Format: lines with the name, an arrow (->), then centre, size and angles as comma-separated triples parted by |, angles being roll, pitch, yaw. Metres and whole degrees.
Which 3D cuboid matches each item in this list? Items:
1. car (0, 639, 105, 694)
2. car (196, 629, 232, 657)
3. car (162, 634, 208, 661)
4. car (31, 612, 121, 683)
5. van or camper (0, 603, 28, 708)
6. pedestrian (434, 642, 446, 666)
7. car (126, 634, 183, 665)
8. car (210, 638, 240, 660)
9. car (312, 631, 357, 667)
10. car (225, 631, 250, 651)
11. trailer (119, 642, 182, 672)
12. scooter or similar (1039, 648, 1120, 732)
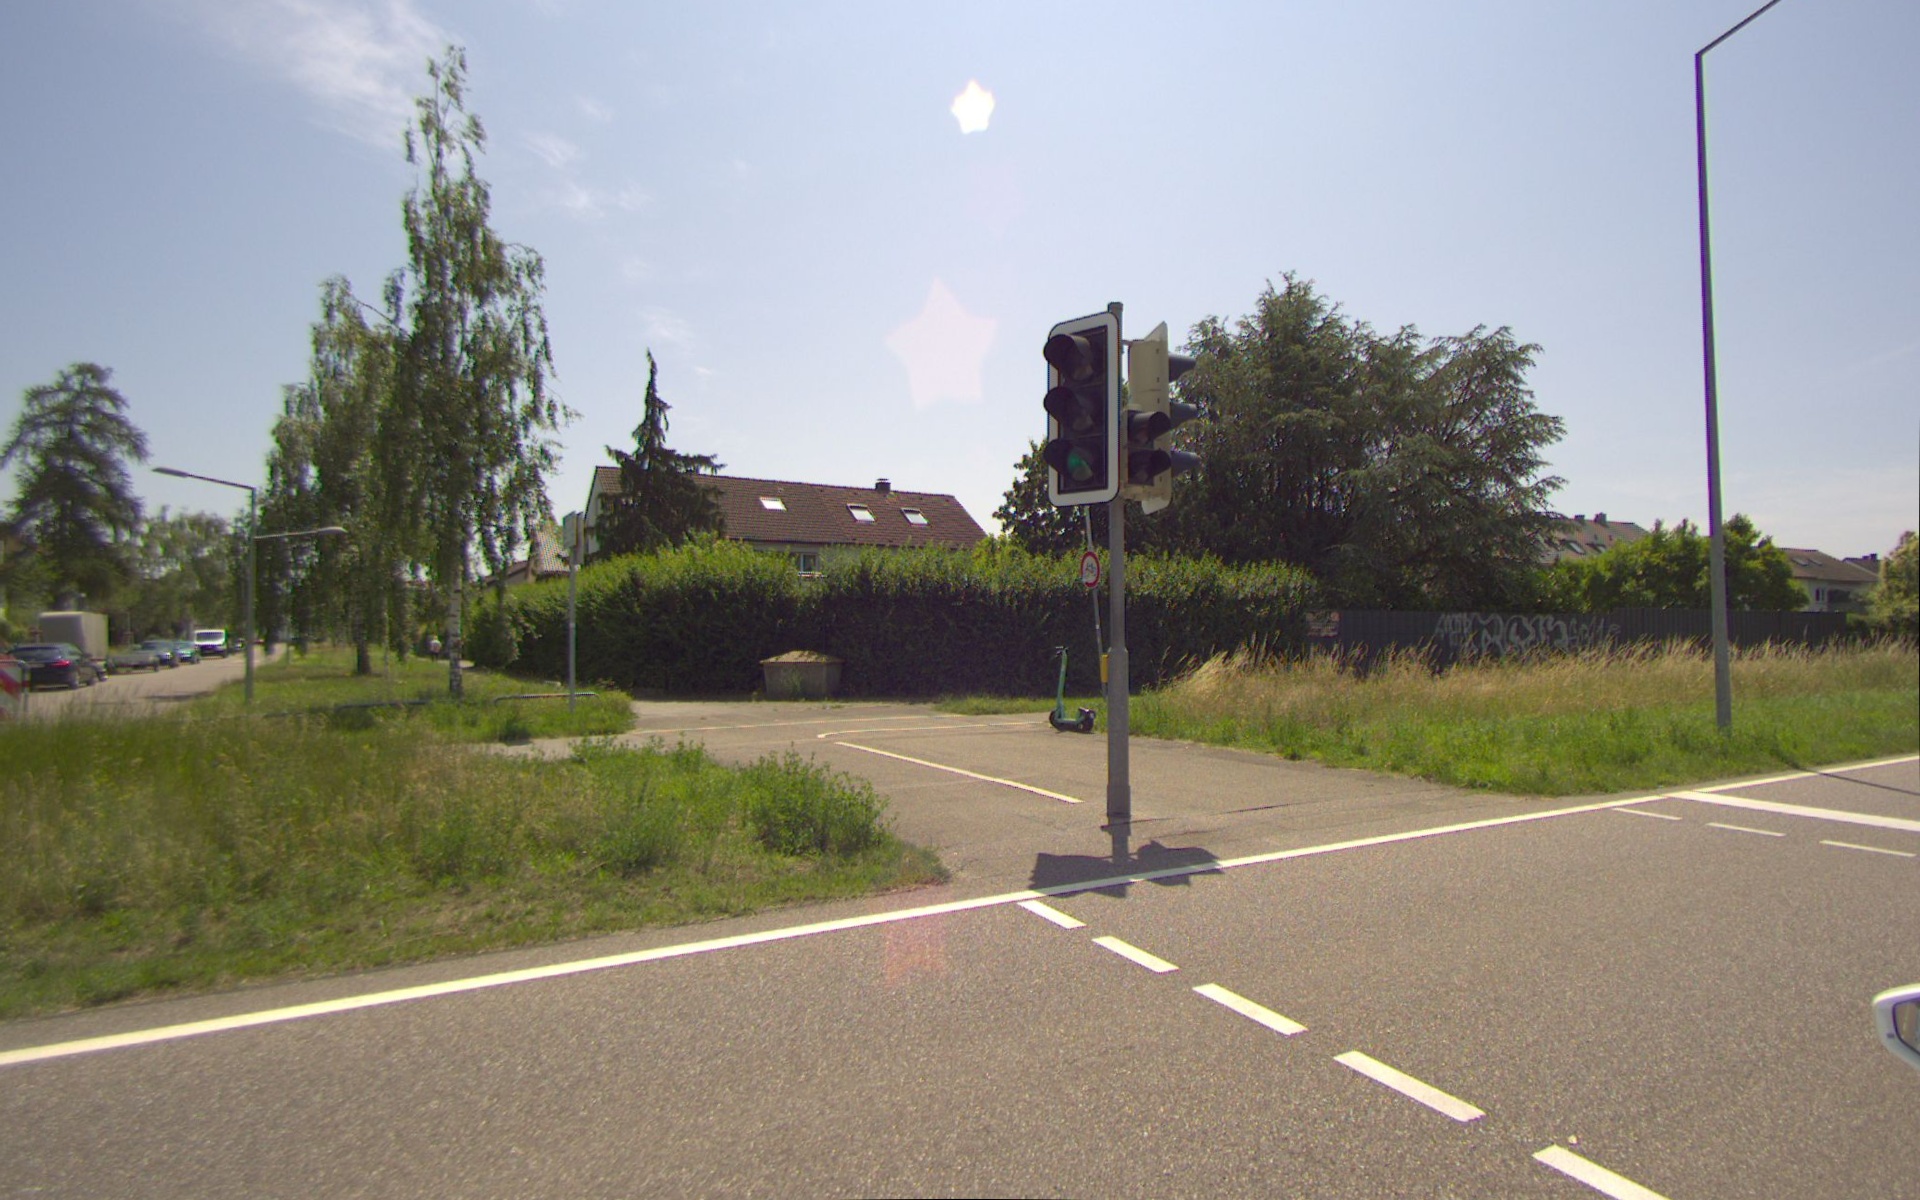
car -> -28.730, 2.048, 31.901 | 1.849, 1.539, 3.964 | 1, -1, -33
car -> -56.975, 3.227, 76.733 | 1.849, 1.996, 4.448 | 1, -1, -33
car -> -47.838, 2.913, 62.081 | 1.849, 1.463, 4.448 | 1, -1, -33
car -> -32.356, 1.682, 36.896 | 1.849, 2.432, 3.964 | 1, -1, -33
van or camper -> -23.153, 1.270, 22.885 | 1.979, 2.420, 4.726 | 1, -1, -33
pedestrian -> -29.054, 3.024, 56.069 | 0.535, 1.315, 0.563 | 1, -2, -33
car -> -42.511, 2.594, 53.068 | 1.849, 1.463, 4.448 | 1, -1, -33
car -> -65.685, 4.354, 89.868 | 1.849, 1.722, 4.448 | 1, -1, -33
car -> -26.478, 2.044, 42.494 | 1.553, 1.355, 3.275 | 1, -1, -33
car -> -75.280, 4.276, 104.745 | 1.849, 1.996, 4.448 | 1, -1, -33
trailer -> -38.728, 2.707, 48.168 | 1.849, 1.241, 4.447 | 1, -1, -33
scooter or similar -> 1.732, 1.284, 14.597 | 0.643, 1.143, 1.010 | 1, -2, -39
